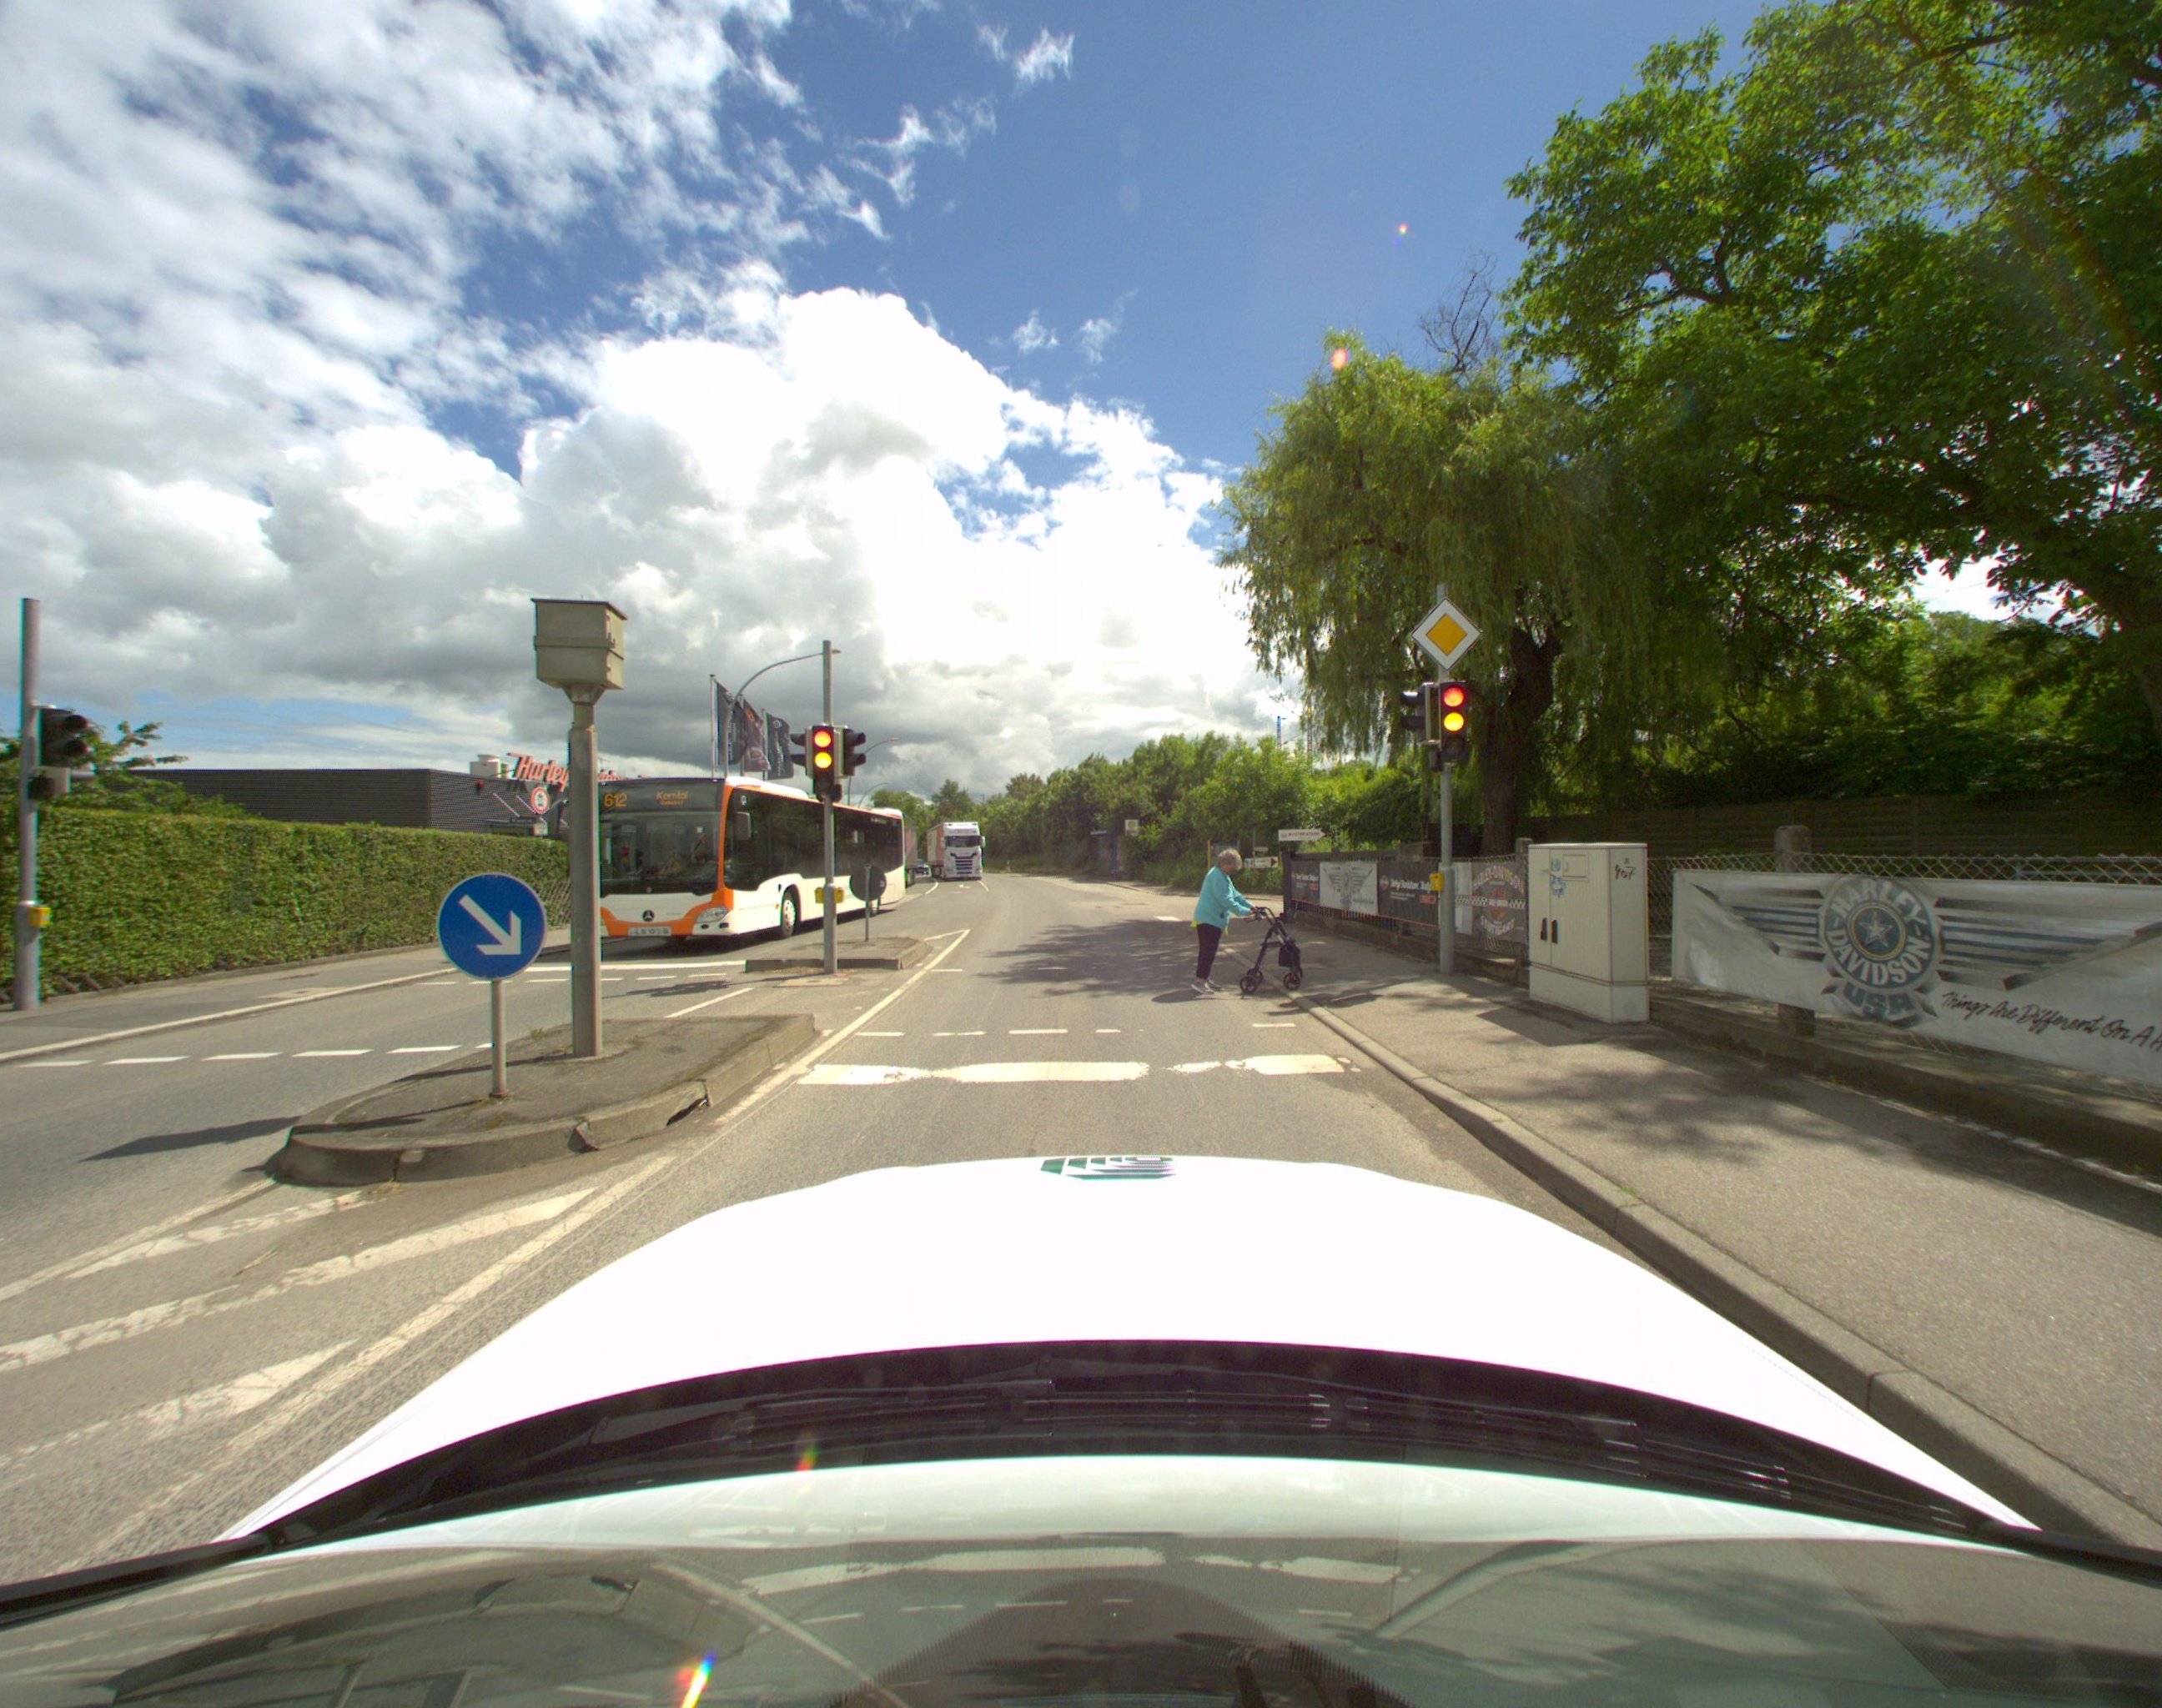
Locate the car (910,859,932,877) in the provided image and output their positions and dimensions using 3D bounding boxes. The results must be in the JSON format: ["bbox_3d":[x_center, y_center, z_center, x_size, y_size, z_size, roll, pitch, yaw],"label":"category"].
[{"bbox_3d":[-15.683,1.312,79.561,1.995,1.706,3.982,0,-1,-13],"label":"car"}]

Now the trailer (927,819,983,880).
[{"bbox_3d":[-9.979,-0.231,62.861,2.776,4.145,15.273,0,-1,-14],"label":"trailer"}]

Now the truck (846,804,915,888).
[{"bbox_3d":[-10.358,-0.348,42.699,2.797,4.053,6.483,0,-1,-8],"label":"truck"}]

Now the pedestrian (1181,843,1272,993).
[{"bbox_3d":[1.554,0.664,8.815,0.836,1.543,0.733,0,-1,-2],"label":"pedestrian"}]

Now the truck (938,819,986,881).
[{"bbox_3d":[-8.338,-0.250,56.634,2.776,4.119,4.961,0,-1,-15],"label":"truck"}]

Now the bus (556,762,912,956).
[{"bbox_3d":[-6.817,0.124,19.127,2.708,3.031,12.270,-2,-1,2],"label":"bus"}]

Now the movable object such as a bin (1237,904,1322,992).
[{"bbox_3d":[2.129,0.997,8.824,0.744,0.871,0.670,0,-1,-2],"label":"movable object such as a bin"}]

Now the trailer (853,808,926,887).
[{"bbox_3d":[-11.346,-0.283,49.720,2.797,4.053,15.512,0,0,-8],"label":"trailer"}]
